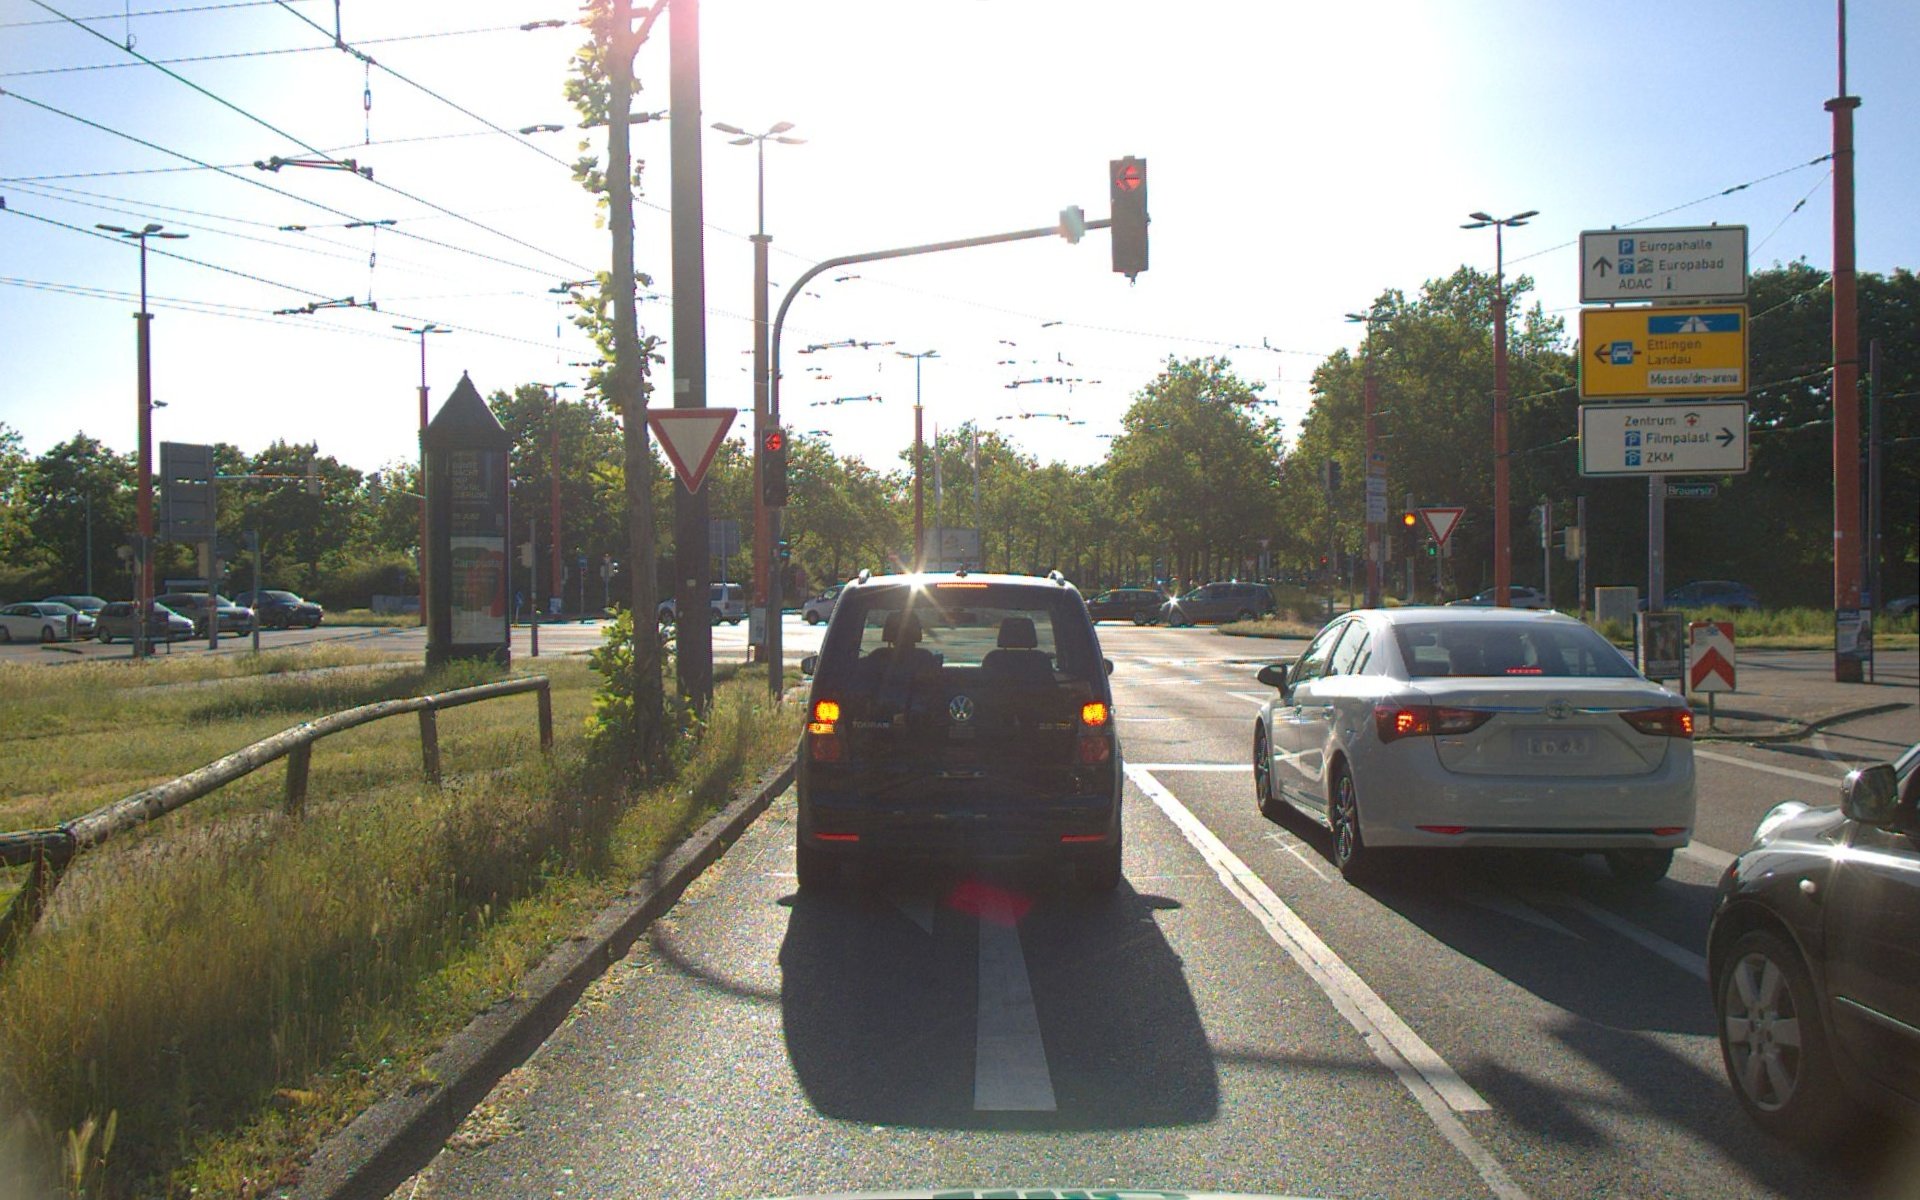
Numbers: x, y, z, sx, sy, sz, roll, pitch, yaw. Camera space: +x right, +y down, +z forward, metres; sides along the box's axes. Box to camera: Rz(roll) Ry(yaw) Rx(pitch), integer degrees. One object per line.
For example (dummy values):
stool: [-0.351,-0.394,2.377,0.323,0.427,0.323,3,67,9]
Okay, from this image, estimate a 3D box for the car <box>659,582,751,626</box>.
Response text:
car: [-11.590,0.180,75.252,3.754,1.923,1.763,1,0,22]

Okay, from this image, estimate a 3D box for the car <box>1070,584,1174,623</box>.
car: [6.903,0.155,70.535,4.040,1.537,1.821,1,0,26]

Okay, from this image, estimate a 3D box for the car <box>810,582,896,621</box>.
car: [-4.930,0.072,76.234,3.570,1.684,1.679,1,0,25]

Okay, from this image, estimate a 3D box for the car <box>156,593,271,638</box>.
car: [-28.926,0.577,64.092,3.907,1.673,1.999,0,0,24]

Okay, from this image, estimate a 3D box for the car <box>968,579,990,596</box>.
car: [1.962,-1.259,171.134,1.874,1.664,4.003,1,0,6]

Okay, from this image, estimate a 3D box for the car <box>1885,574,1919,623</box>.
car: [34.492,-0.052,57.422,4.040,1.672,1.850,0,0,27]

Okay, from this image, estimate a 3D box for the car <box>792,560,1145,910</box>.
car: [0.005,0.628,9.801,1.666,1.650,3.896,0,0,-1]

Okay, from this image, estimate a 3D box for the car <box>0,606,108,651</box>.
car: [-34.724,1.078,63.092,4.091,1.640,1.867,0,0,25]

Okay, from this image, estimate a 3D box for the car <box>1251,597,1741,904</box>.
car: [2.975,0.728,10.139,1.685,1.463,4.198,1,0,1]

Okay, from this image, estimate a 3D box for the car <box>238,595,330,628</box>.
car: [-29.273,0.481,71.589,3.913,1.353,1.694,0,0,31]

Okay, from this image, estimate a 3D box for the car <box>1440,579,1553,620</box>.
car: [20.574,-0.025,63.425,3.887,1.466,1.685,1,0,27]

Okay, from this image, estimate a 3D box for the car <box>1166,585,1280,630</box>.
car: [10.375,0.281,65.218,4.097,1.673,1.758,1,0,26]

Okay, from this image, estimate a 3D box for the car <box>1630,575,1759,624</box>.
car: [25.501,-0.020,57.429,4.039,1.626,1.827,0,0,27]

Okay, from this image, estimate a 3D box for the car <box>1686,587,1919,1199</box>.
car: [3.178,0.745,3.560,1.620,1.526,3.614,1,0,0]
